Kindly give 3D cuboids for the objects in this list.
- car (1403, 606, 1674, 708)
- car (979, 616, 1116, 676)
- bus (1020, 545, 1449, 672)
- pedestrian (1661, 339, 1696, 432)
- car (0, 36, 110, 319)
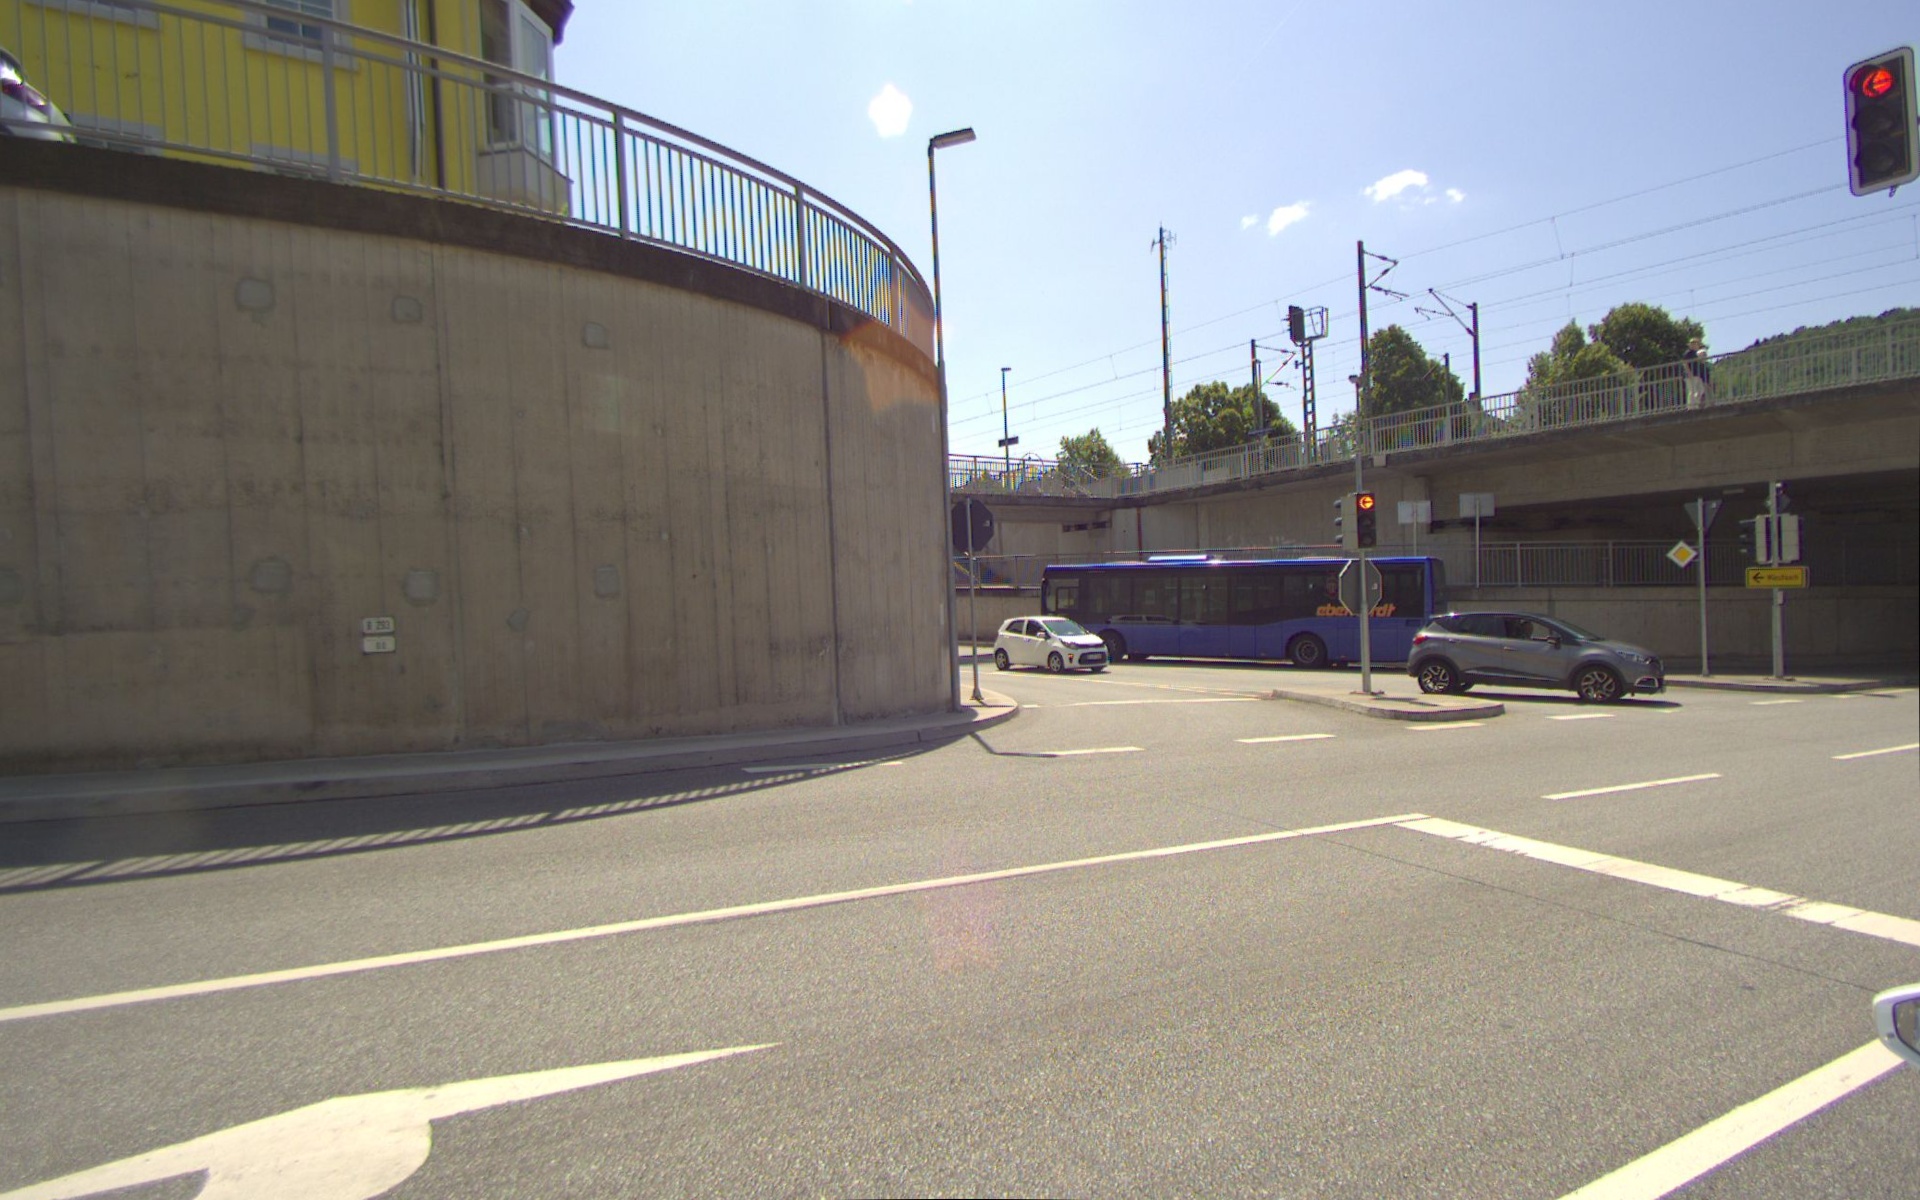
[{"bbox_3d":[10.519,0.958,18.419,3.945,1.610,1.988,-1,1,44],"label":"car"},{"bbox_3d":[2.348,1.217,27.901,1.712,1.439,3.964,-2,0,-33],"label":"car"},{"bbox_3d":[7.731,0.284,30.026,12.166,3.215,2.582,-1,1,33],"label":"bus"},{"bbox_3d":[17.829,-5.303,24.922,0.531,2.108,0.571,1,-1,-40],"label":"pedestrian"},{"bbox_3d":[-9.347,-3.506,7.755,3.955,1.690,1.892,-1,1,-32],"label":"car"}]
